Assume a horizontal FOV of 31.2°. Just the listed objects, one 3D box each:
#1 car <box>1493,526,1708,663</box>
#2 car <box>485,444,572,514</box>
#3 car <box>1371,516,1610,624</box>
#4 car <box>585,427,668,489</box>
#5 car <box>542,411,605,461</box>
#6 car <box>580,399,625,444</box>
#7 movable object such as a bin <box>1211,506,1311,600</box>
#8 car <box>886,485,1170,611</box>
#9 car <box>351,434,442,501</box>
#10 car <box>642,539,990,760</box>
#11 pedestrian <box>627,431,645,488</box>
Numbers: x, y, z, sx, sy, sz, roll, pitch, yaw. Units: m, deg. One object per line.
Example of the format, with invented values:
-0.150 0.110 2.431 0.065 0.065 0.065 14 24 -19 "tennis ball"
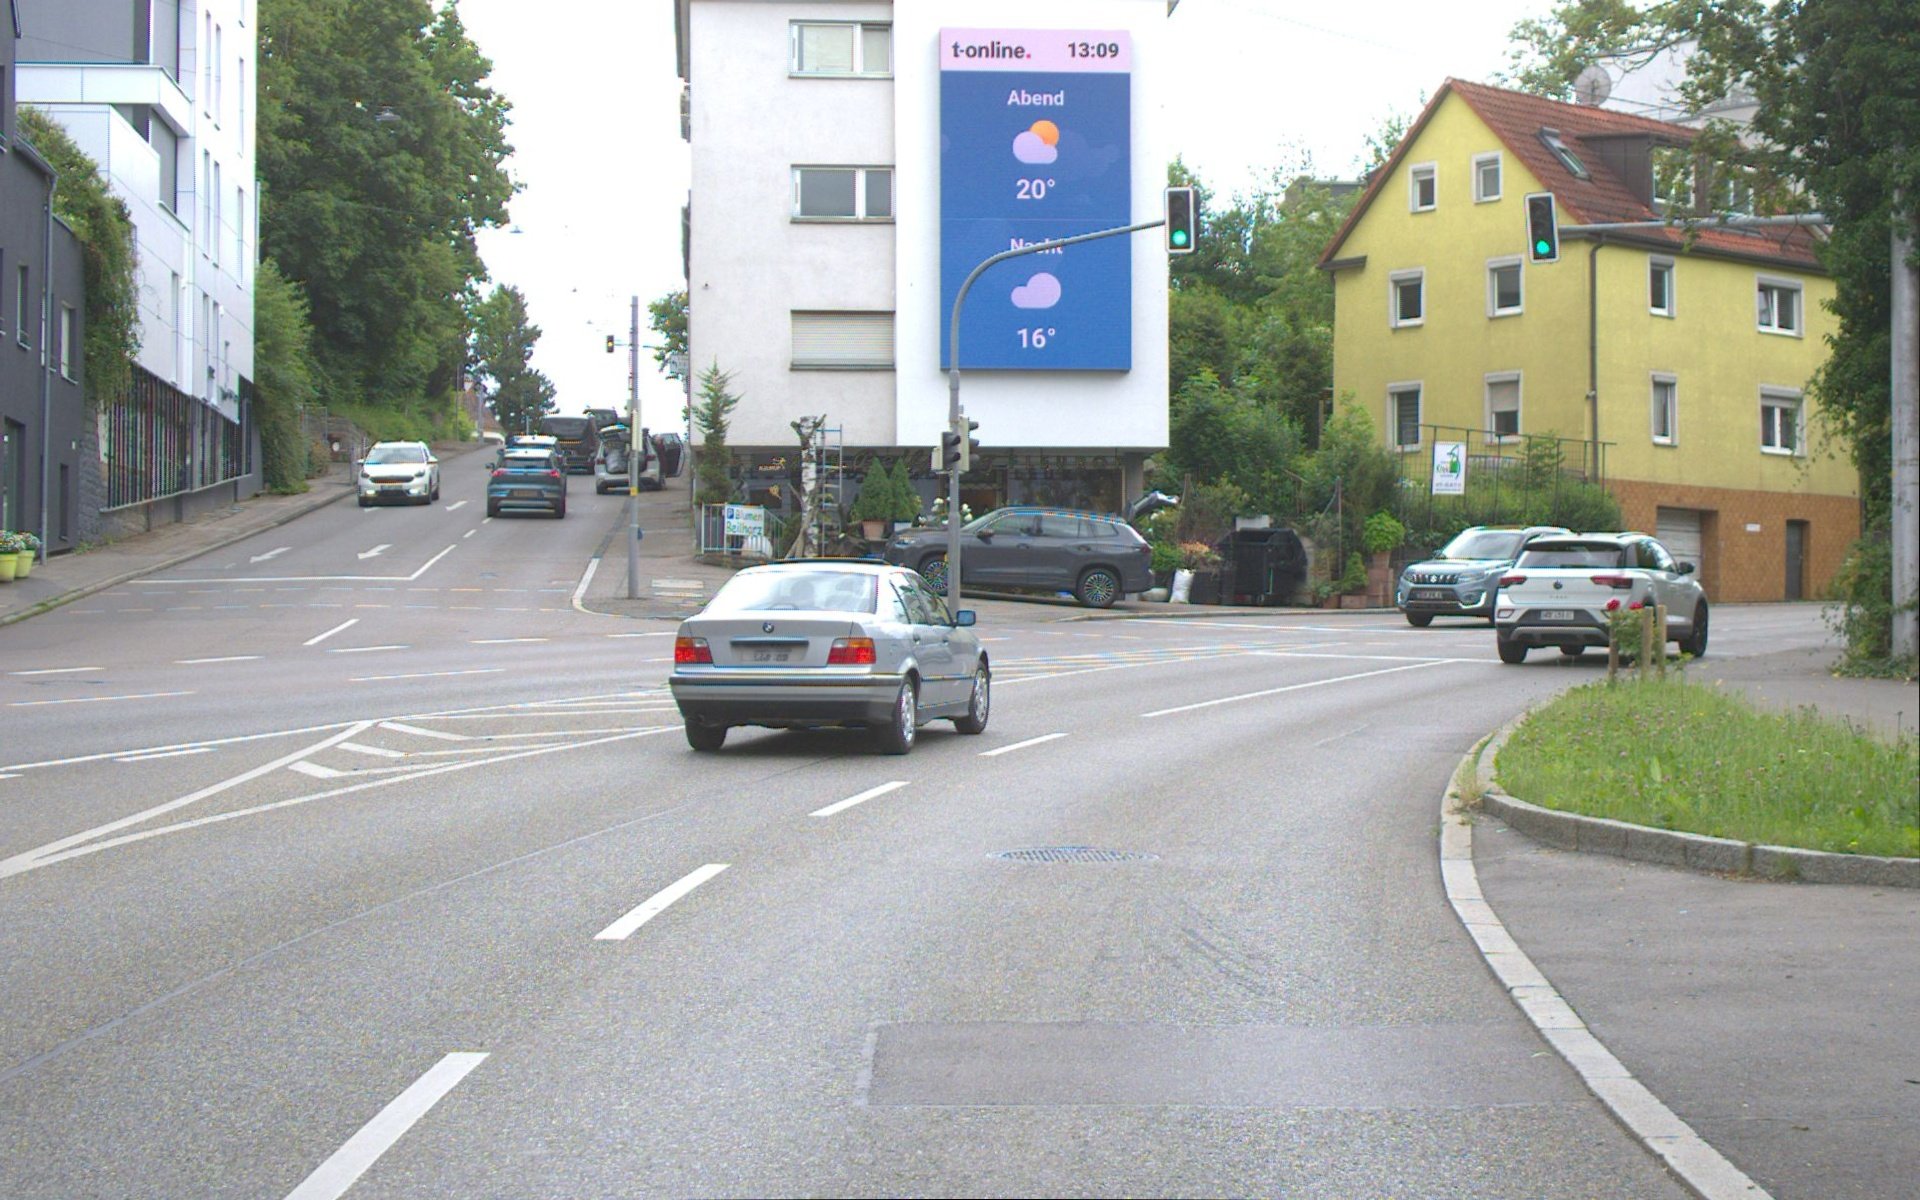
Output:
7.857 -0.112 41.923 1.782 1.573 3.995 1 1 22 "car"
-10.161 -2.838 81.156 1.779 1.573 4.001 1 2 -4 "car"
8.676 -0.502 55.954 1.900 1.689 4.337 1 1 39 "car"
-9.199 -3.910 95.077 2.089 1.607 4.001 1 1 -3 "car"
-12.240 -5.179 109.002 1.794 1.460 4.001 1 2 -4 "car"
-17.037 -8.523 163.991 1.993 2.007 4.001 1 1 -4 "car"
5.778 -0.908 65.894 1.763 1.773 1.854 0 1 9 "movable object such as a bin"
1.156 -0.942 60.621 4.687 1.706 2.319 5 4 -4 "car"
-14.262 -3.394 87.206 1.882 1.562 4.391 0 4 -4 "car"
-0.985 0.306 25.751 1.707 1.459 3.998 2 2 11 "car"
-8.841 -3.832 93.869 0.458 1.524 0.527 1 0 -3 "pedestrian"
